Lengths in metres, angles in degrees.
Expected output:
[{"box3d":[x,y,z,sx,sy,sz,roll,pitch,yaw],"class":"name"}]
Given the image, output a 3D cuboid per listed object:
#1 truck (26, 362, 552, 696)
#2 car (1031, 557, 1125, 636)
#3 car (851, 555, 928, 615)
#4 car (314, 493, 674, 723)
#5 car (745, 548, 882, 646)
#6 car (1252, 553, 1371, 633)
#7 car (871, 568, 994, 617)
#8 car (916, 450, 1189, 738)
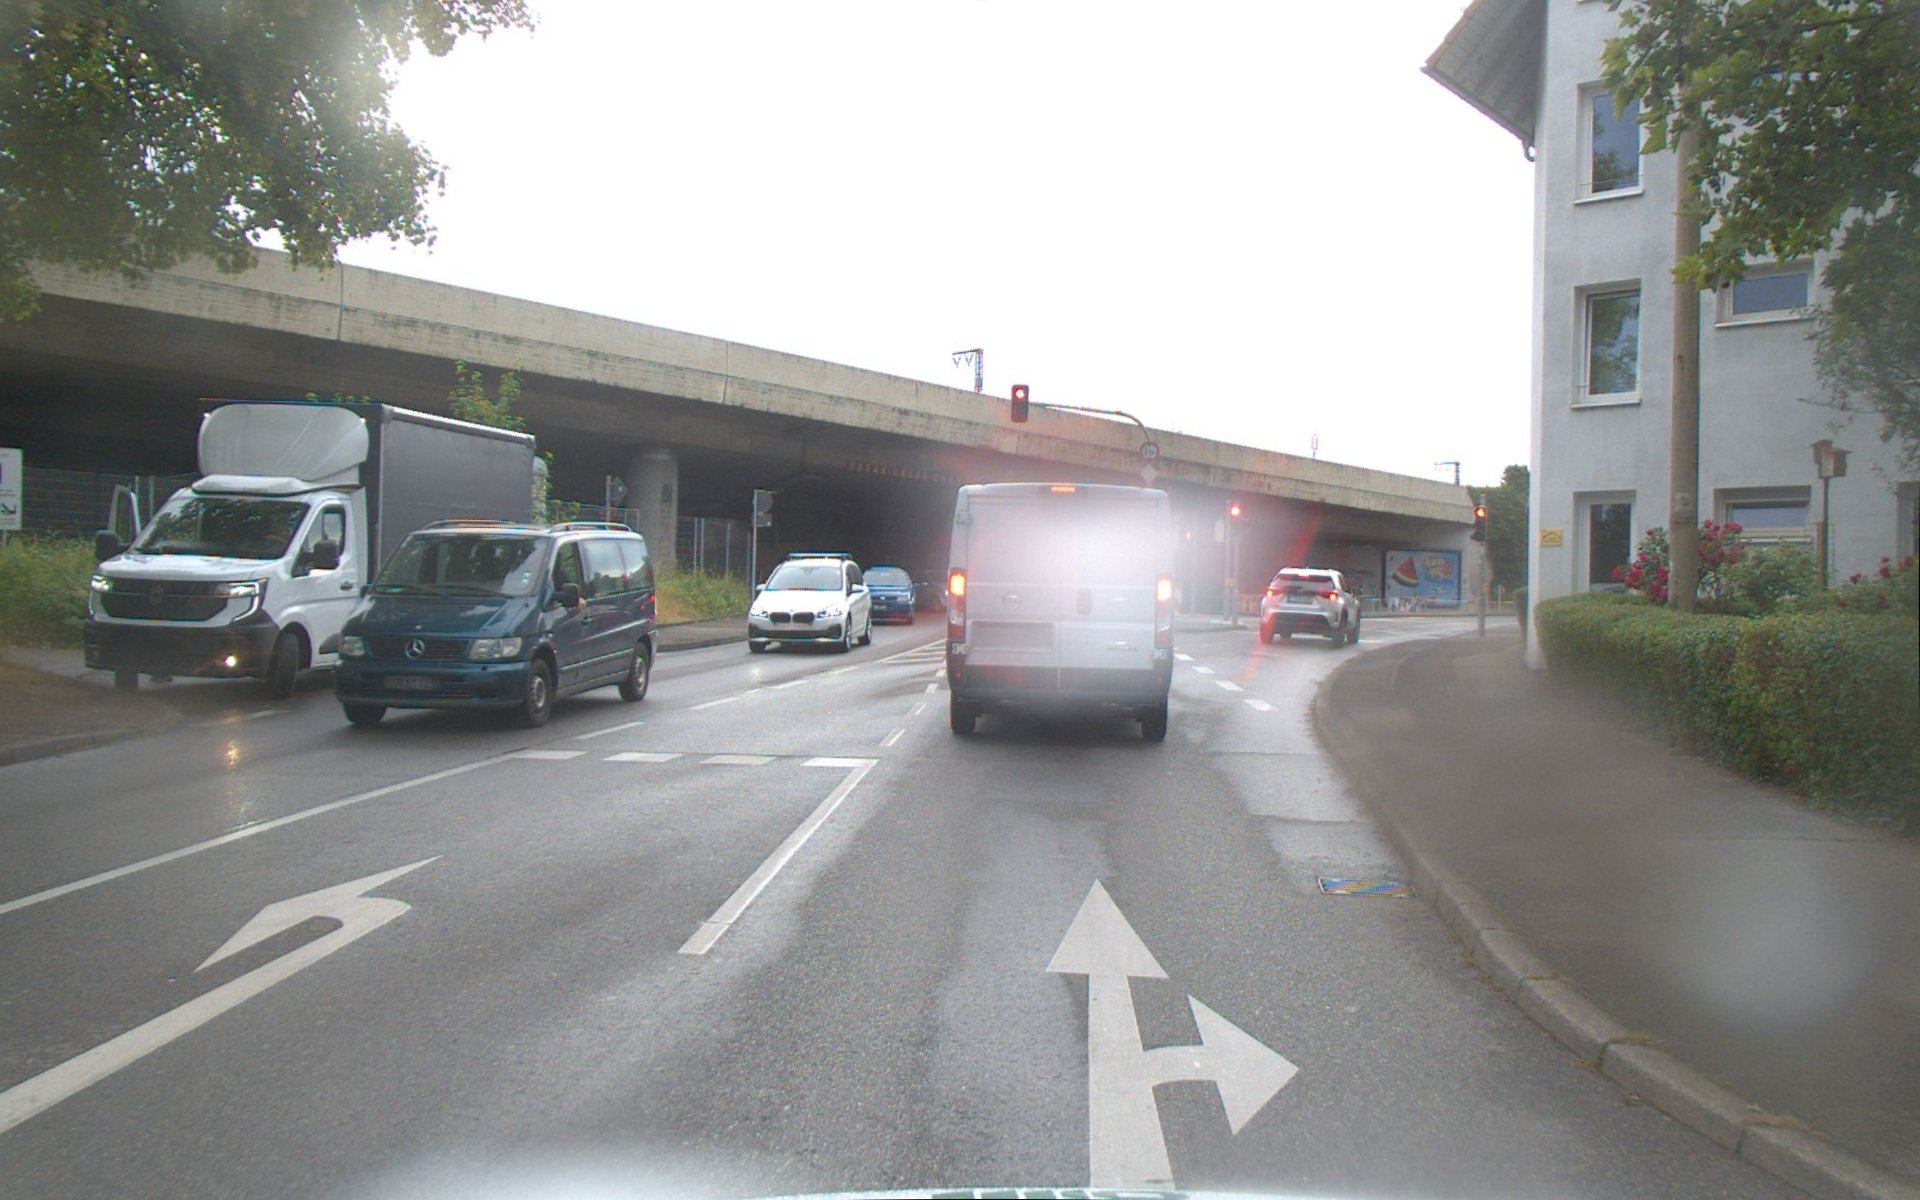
[{"box3d":[-7.709,-0.767,20.456,2.555,3.293,7.782,1,1,6],"class":"truck"},{"box3d":[2.874,-0.081,39.568,1.951,1.759,4.003,1,0,8],"class":"car"},{"box3d":[-1.802,-0.422,43.388,1.564,1.450,3.699,1,1,4],"class":"car"},{"box3d":[-4.460,0.037,16.695,1.916,1.965,4.687,1,1,5],"class":"car"},{"box3d":[-2.623,-0.117,30.568,1.793,1.605,4.337,2,2,4],"class":"car"},{"box3d":[7.608,-0.137,35.577,1.952,1.576,4.001,1,0,20],"class":"car"},{"box3d":[-0.966,-0.277,56.706,3.931,1.581,1.987,2,0,44],"class":"car"},{"box3d":[1.053,-0.123,16.649,2.256,2.384,5.286,1,1,6],"class":"car"}]
